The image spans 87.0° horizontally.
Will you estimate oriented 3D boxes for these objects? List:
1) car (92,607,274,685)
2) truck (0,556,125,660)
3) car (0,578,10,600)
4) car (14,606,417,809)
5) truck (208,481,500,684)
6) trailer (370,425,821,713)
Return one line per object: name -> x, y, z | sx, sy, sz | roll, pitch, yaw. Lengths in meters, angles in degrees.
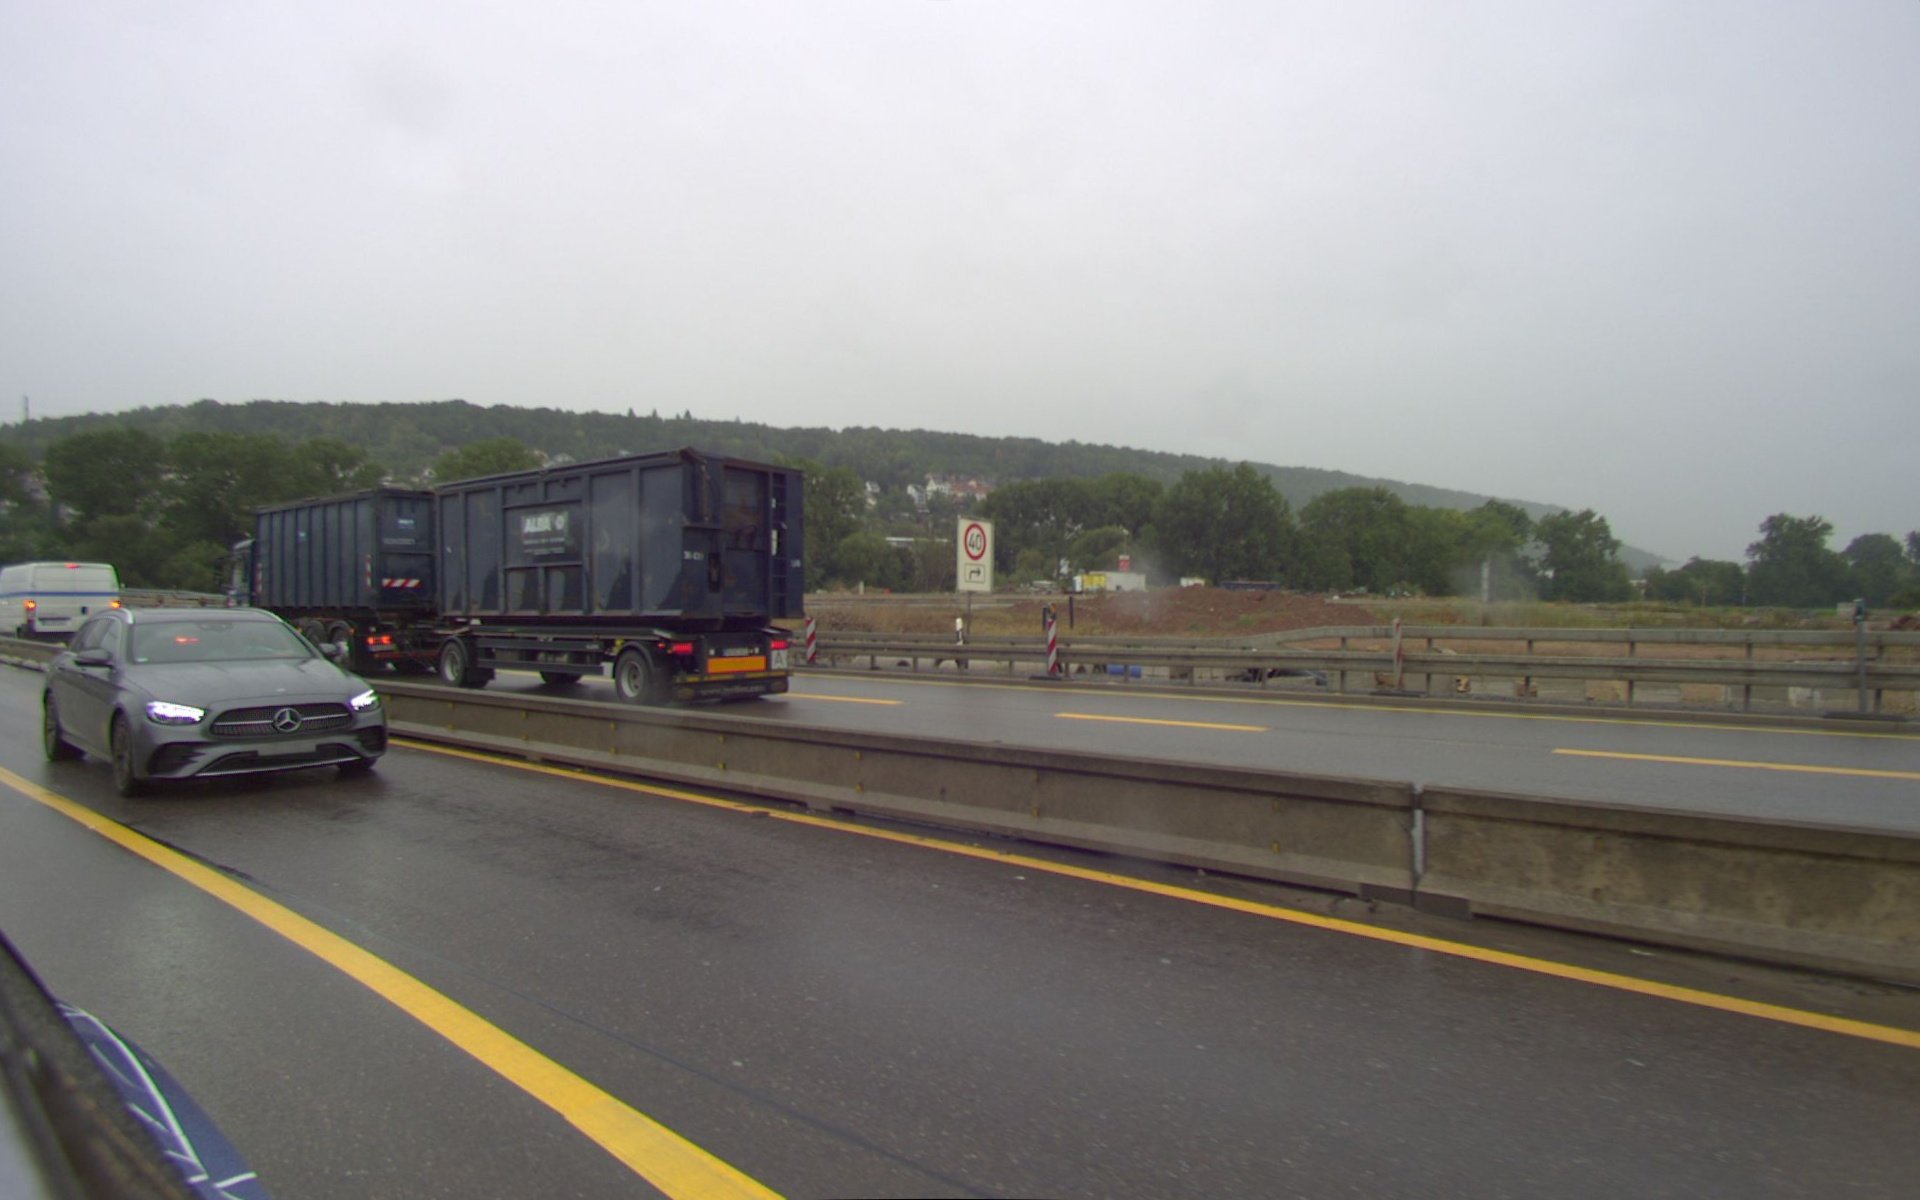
car -> -16.425, 0.883, 21.324 | 4.662, 1.482, 1.852 | 0, 0, 37
truck -> -26.364, 0.190, 29.238 | 6.006, 2.734, 2.128 | 0, 0, 37
car -> -77.762, -0.948, 80.557 | 5.027, 1.713, 1.831 | 2, 1, 31
car -> -7.066, 0.827, 9.433 | 4.478, 1.449, 1.928 | -2, -1, 38
truck -> -14.477, -0.291, 23.752 | 9.196, 4.000, 2.617 | -1, -1, 37
trailer -> -6.905, -0.385, 18.053 | 9.656, 4.000, 2.721 | -1, -1, 37
